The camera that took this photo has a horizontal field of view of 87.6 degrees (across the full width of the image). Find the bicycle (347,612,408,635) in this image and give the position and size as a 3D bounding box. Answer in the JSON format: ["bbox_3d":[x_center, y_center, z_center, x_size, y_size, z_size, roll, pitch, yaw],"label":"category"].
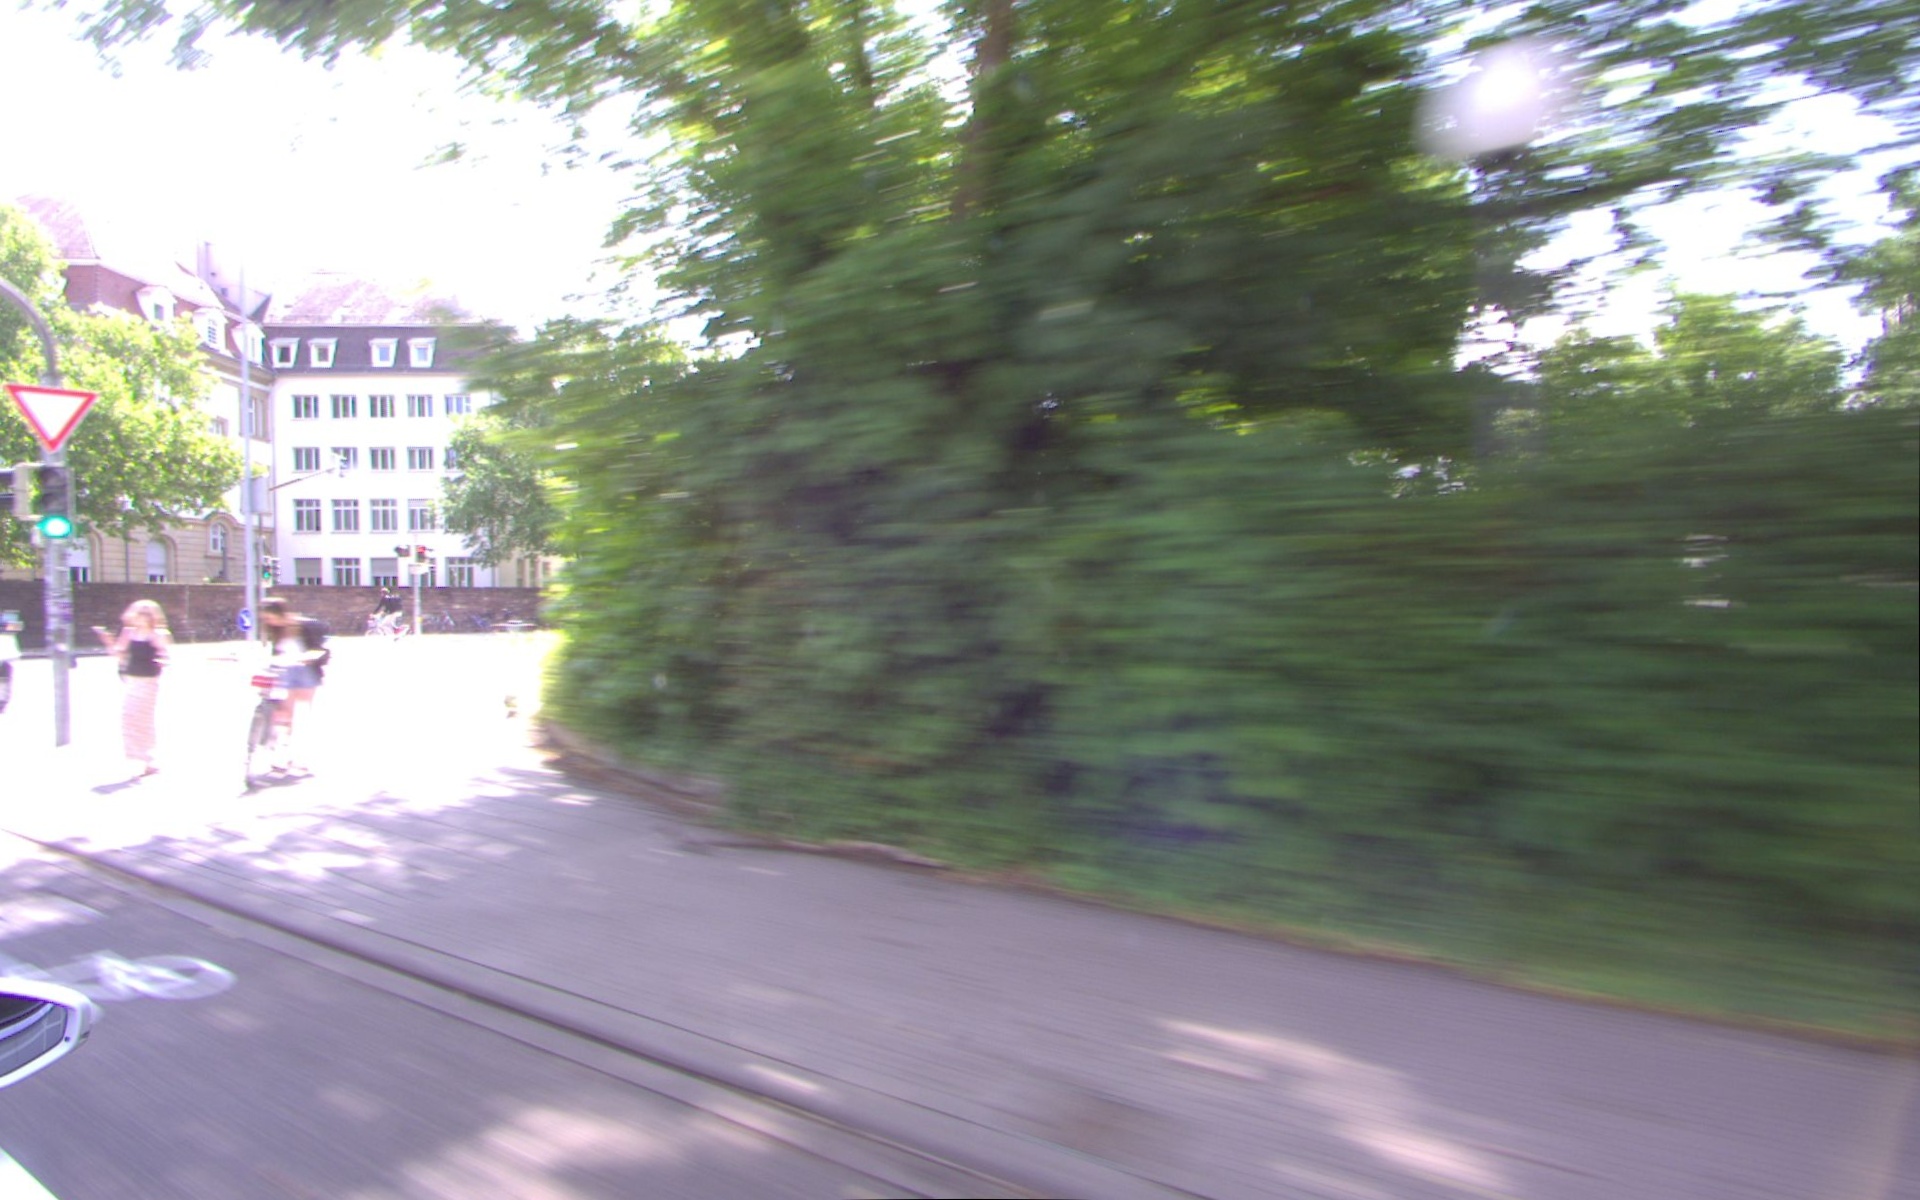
[{"bbox_3d":[-26.524,1.060,45.637,0.742,1.007,2.378,0,0,29],"label":"bicycle"}]

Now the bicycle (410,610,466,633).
[{"bbox_3d":[-25.114,1.021,48.233,0.742,1.007,2.378,0,0,29],"label":"bicycle"}]

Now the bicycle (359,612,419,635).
[{"bbox_3d":[-26.273,1.054,46.099,0.714,1.007,2.378,0,0,29],"label":"bicycle"}]

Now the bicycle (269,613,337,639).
[{"bbox_3d":[-28.015,1.096,42.743,0.742,1.007,2.378,0,0,29],"label":"bicycle"}]

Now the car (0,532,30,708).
[{"bbox_3d":[-14.329,0.263,12.657,2.069,2.600,5.580,1,0,-25],"label":"car"}]

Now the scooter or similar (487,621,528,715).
[{"bbox_3d":[-5.931,0.865,13.162,0.281,1.162,1.176,-1,1,-15],"label":"scooter or similar"}]

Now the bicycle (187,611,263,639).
[{"bbox_3d":[-29.439,0.974,40.147,0.742,1.072,2.378,0,0,29],"label":"bicycle"}]

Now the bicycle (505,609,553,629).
[{"bbox_3d":[-22.777,0.980,52.957,0.742,1.007,2.379,0,0,26],"label":"bicycle"}]

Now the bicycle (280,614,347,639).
[{"bbox_3d":[-27.813,1.111,43.143,0.686,1.007,2.378,0,0,29],"label":"bicycle"}]

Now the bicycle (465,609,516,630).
[{"bbox_3d":[-23.743,0.982,50.710,0.714,1.007,2.377,0,0,29],"label":"bicycle"}]

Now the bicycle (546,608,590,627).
[{"bbox_3d":[-21.582,0.946,55.156,0.742,1.007,2.379,0,0,27],"label":"bicycle"}]

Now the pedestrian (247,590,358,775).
[{"bbox_3d":[-6.053,0.724,9.262,0.716,1.597,0.729,-4,2,-29],"label":"pedestrian"}]

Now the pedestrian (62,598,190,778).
[{"bbox_3d":[-7.880,0.793,9.467,0.766,1.597,0.728,0,2,38],"label":"pedestrian"}]

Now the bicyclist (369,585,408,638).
[{"bbox_3d":[-18.326,0.369,32.112,0.874,1.695,0.683,0,1,18],"label":"bicyclist"}]

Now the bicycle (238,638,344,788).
[{"bbox_3d":[-6.038,0.963,9.114,0.585,1.142,1.734,-3,2,-29],"label":"bicycle"}]

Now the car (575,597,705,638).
[{"bbox_3d":[-13.906,0.704,43.850,1.974,1.663,5.271,0,0,36],"label":"car"}]

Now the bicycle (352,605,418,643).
[{"bbox_3d":[-18.468,0.761,32.165,1.952,1.201,0.680,0,1,18],"label":"bicycle"}]

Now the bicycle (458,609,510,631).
[{"bbox_3d":[-23.925,0.992,50.387,0.742,1.007,2.378,0,0,29],"label":"bicycle"}]
